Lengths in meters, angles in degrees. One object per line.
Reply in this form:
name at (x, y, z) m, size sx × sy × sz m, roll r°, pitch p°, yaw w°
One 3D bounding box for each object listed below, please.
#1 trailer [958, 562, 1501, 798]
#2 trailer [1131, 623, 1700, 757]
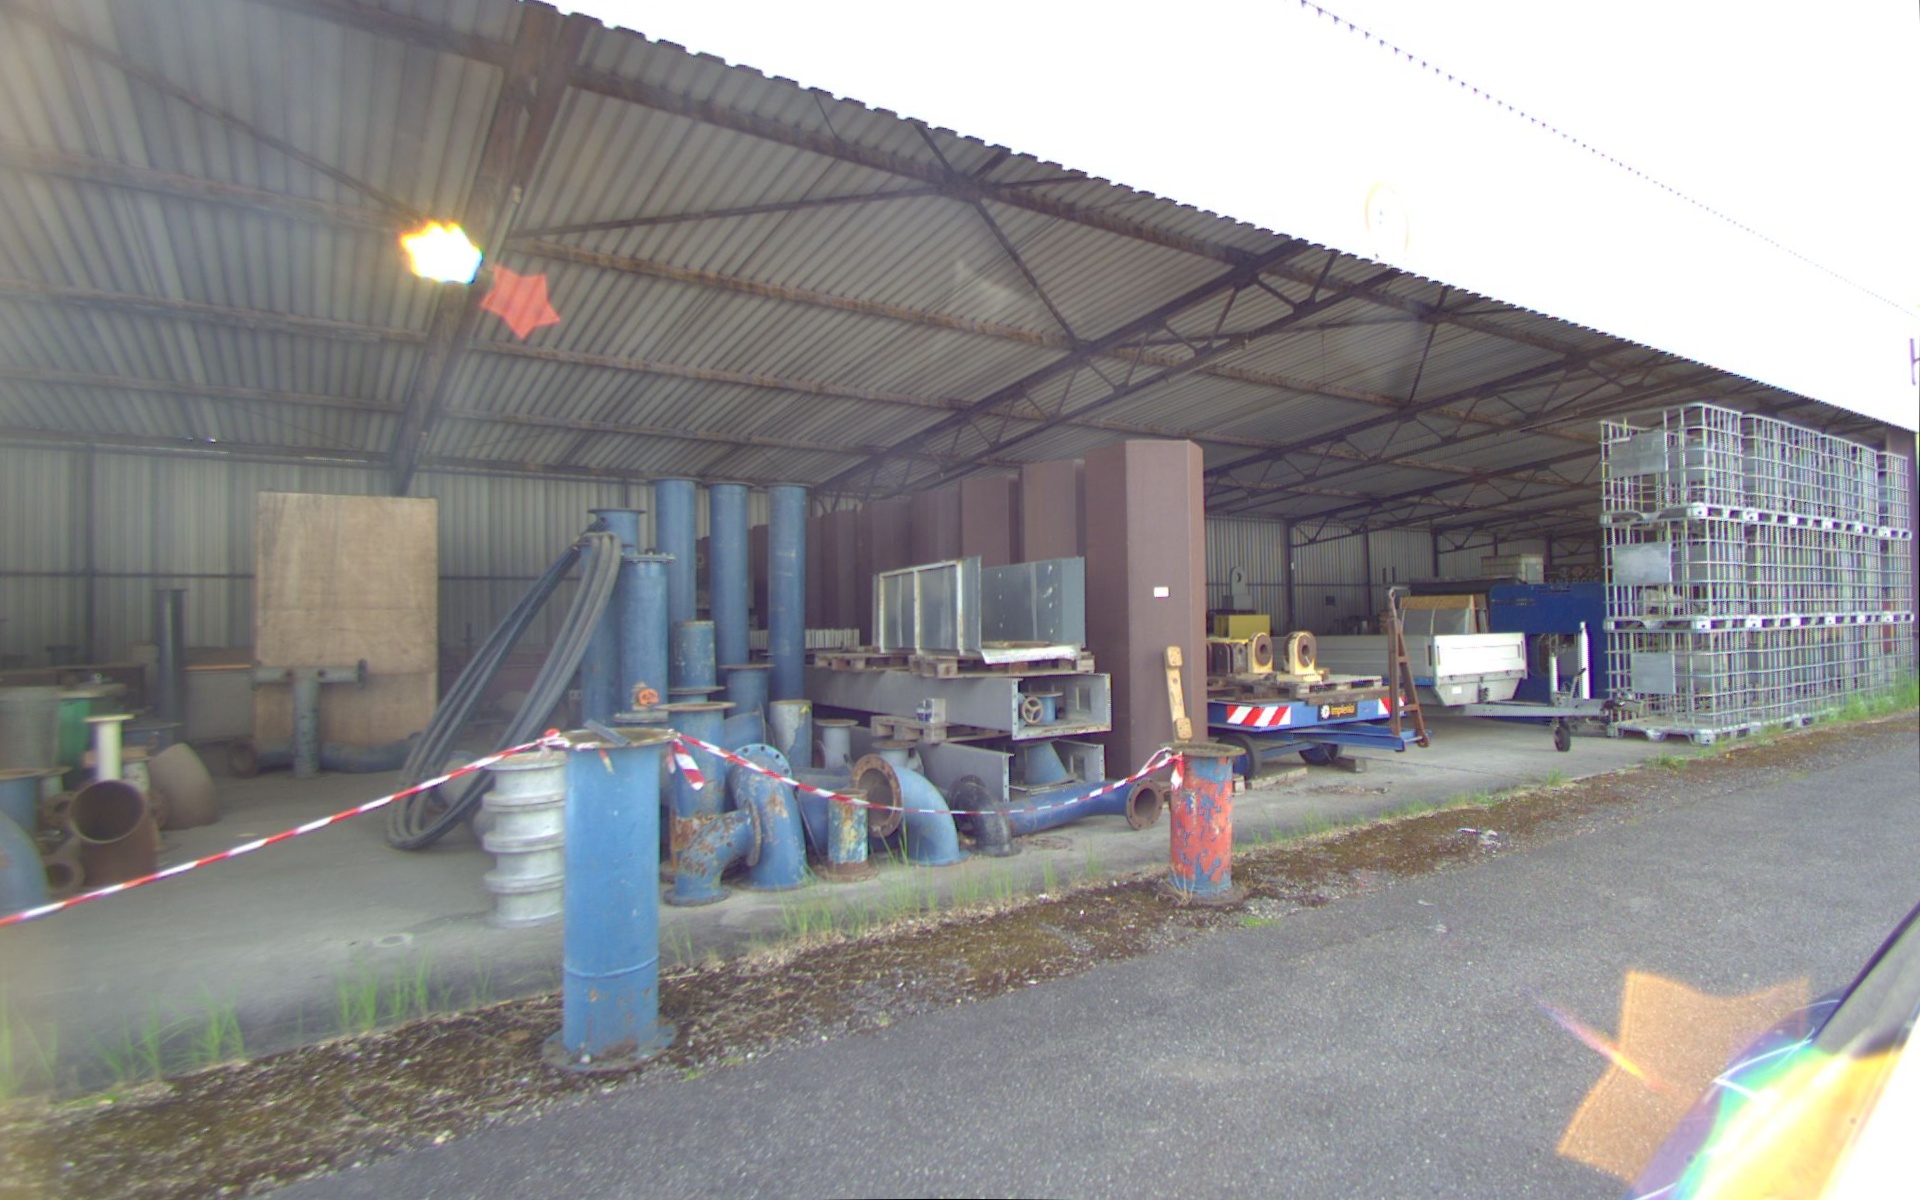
trailer at (2.180, 0.601, 9.672) m, size 1.990 × 1.649 × 4.882 m, roll 0°, pitch -1°, yaw -34°
trailer at (4.754, 0.853, 11.734) m, size 1.990 × 1.134 × 5.841 m, roll 0°, pitch -1°, yaw -34°
